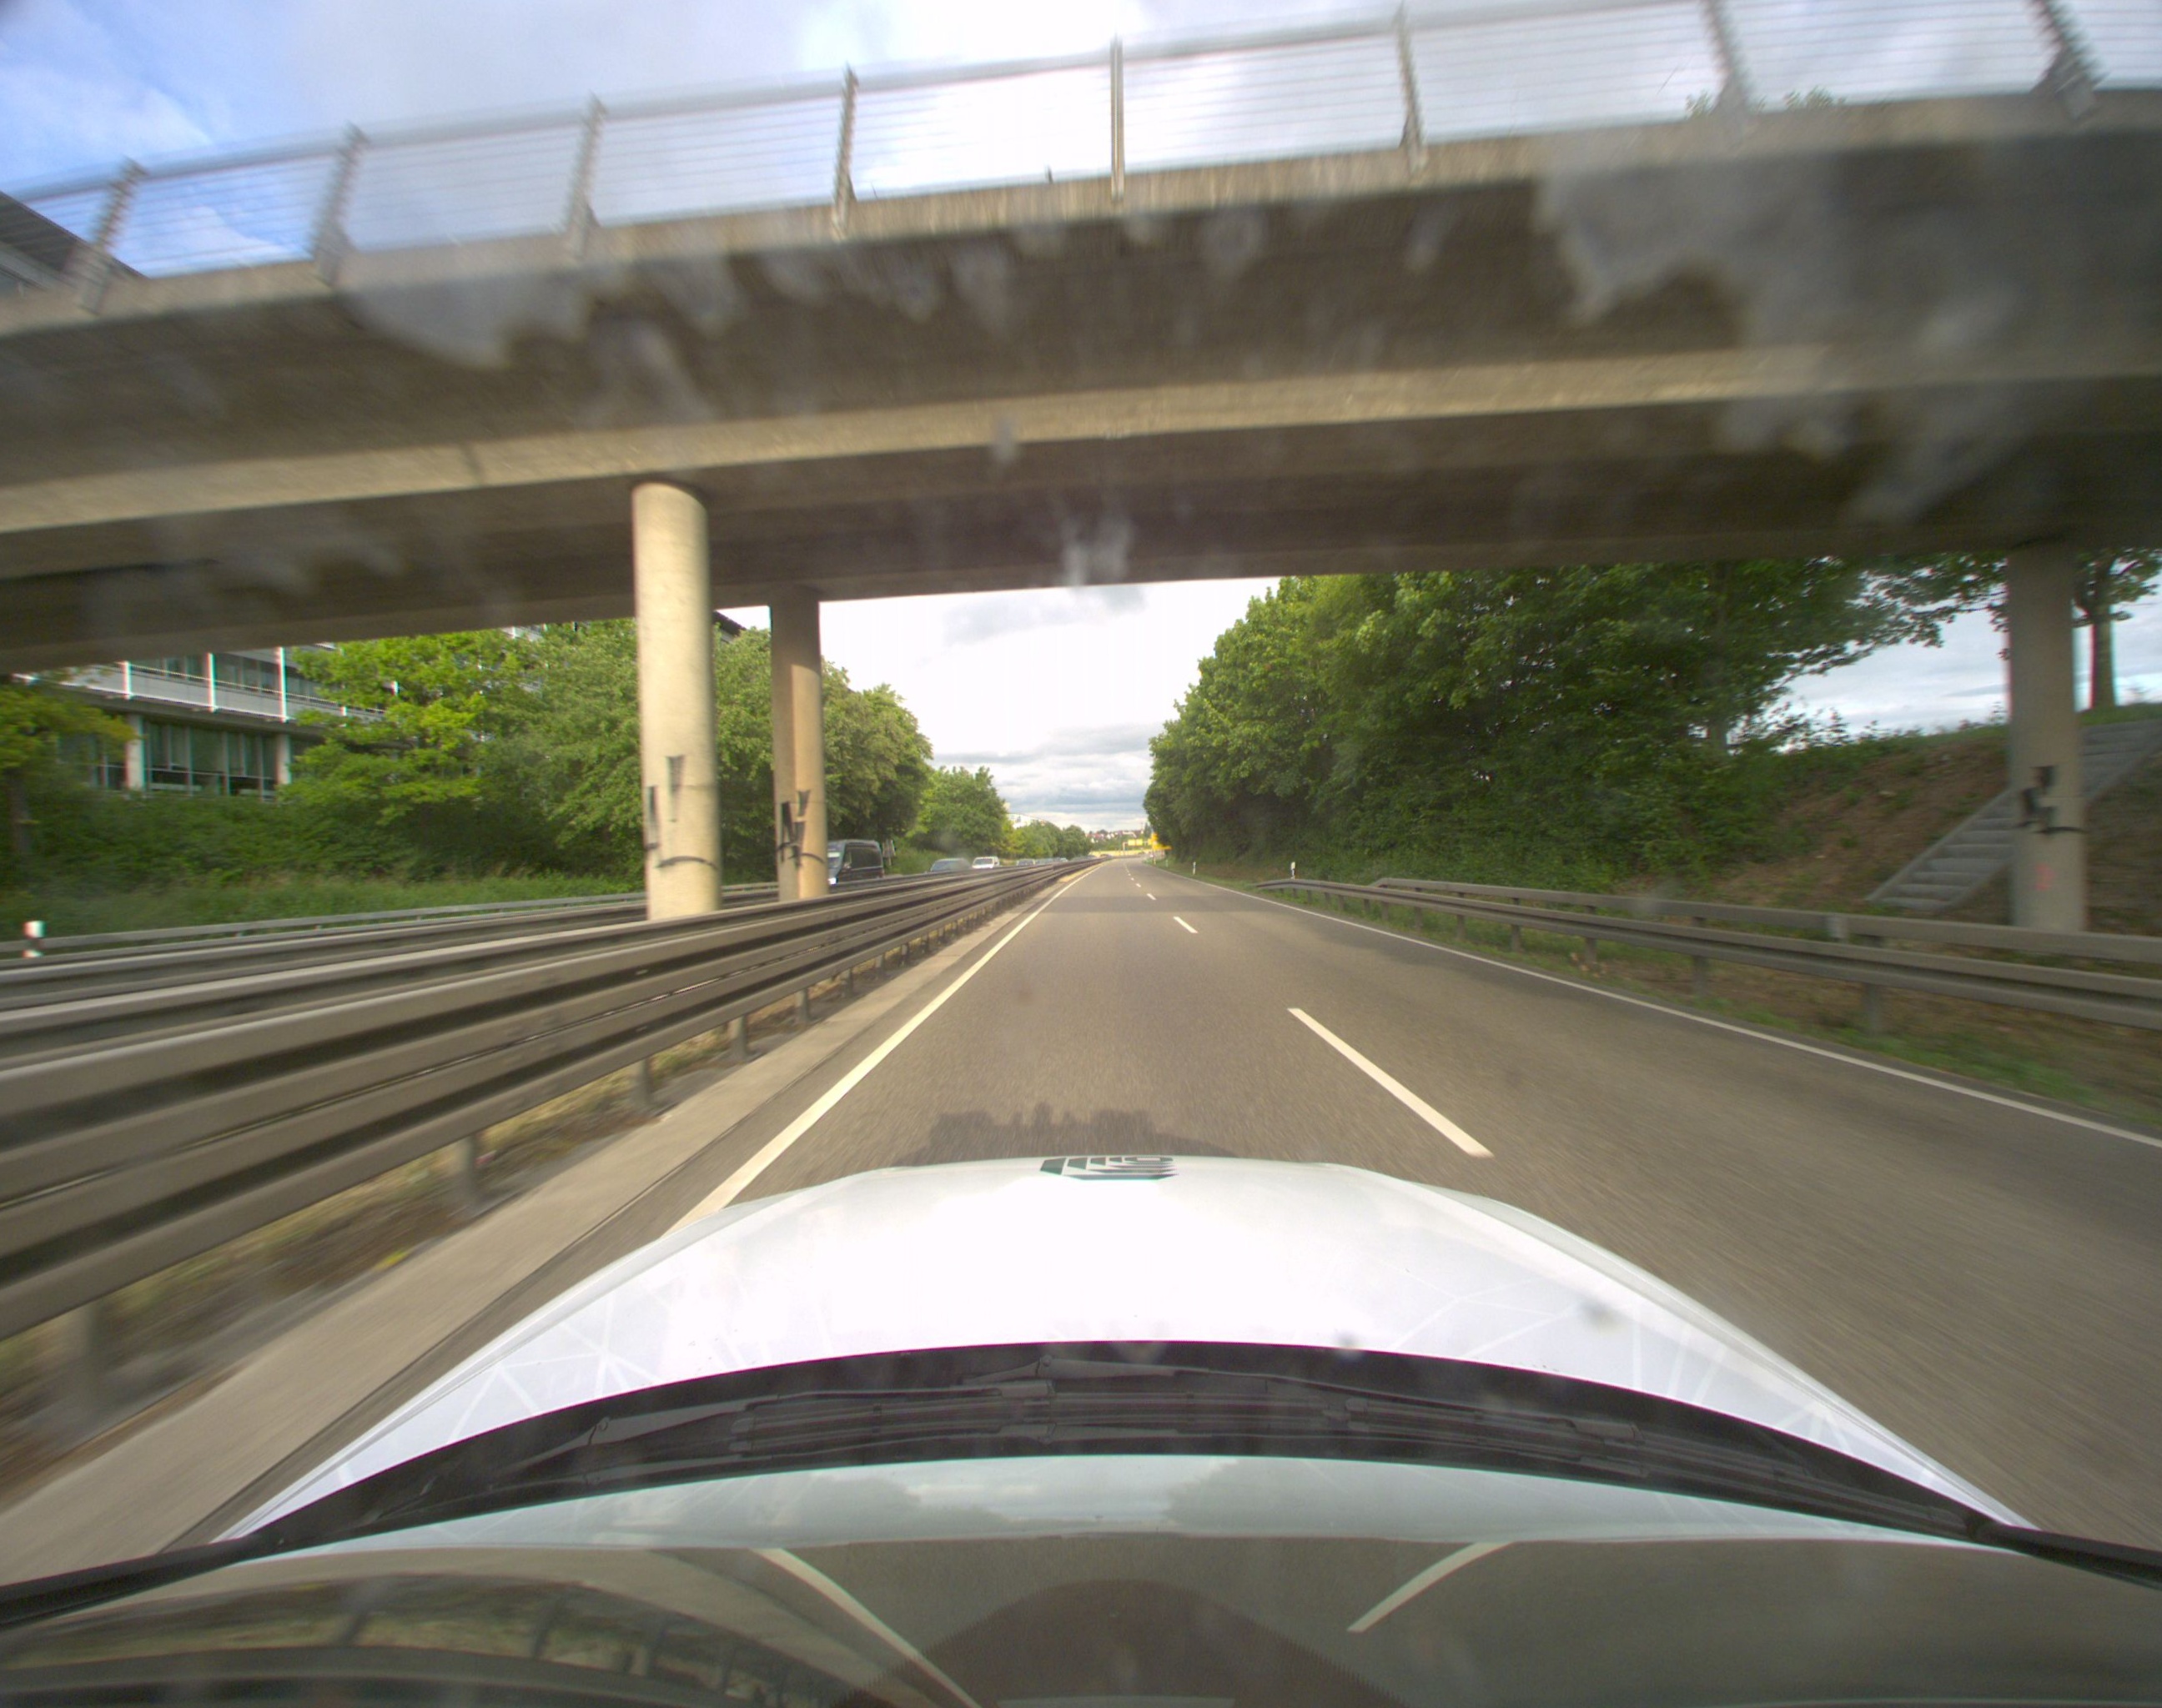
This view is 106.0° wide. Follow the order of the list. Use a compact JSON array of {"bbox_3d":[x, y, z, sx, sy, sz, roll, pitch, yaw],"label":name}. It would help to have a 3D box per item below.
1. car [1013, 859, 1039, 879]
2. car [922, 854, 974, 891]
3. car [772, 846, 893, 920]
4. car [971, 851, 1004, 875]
[{"bbox_3d":[-4.454,1.184,66.163,1.675,1.486,3.648,-2,0,2],"label":"car"},{"bbox_3d":[-5.876,0.805,36.386,1.600,1.528,3.641,-1,0,1],"label":"car"},{"bbox_3d":[-9.449,1.007,31.799,2.241,2.537,6.945,-1,0,3],"label":"car"},{"bbox_3d":[-7.676,0.701,67.412,1.860,1.855,4.627,-2,0,3],"label":"car"}]
